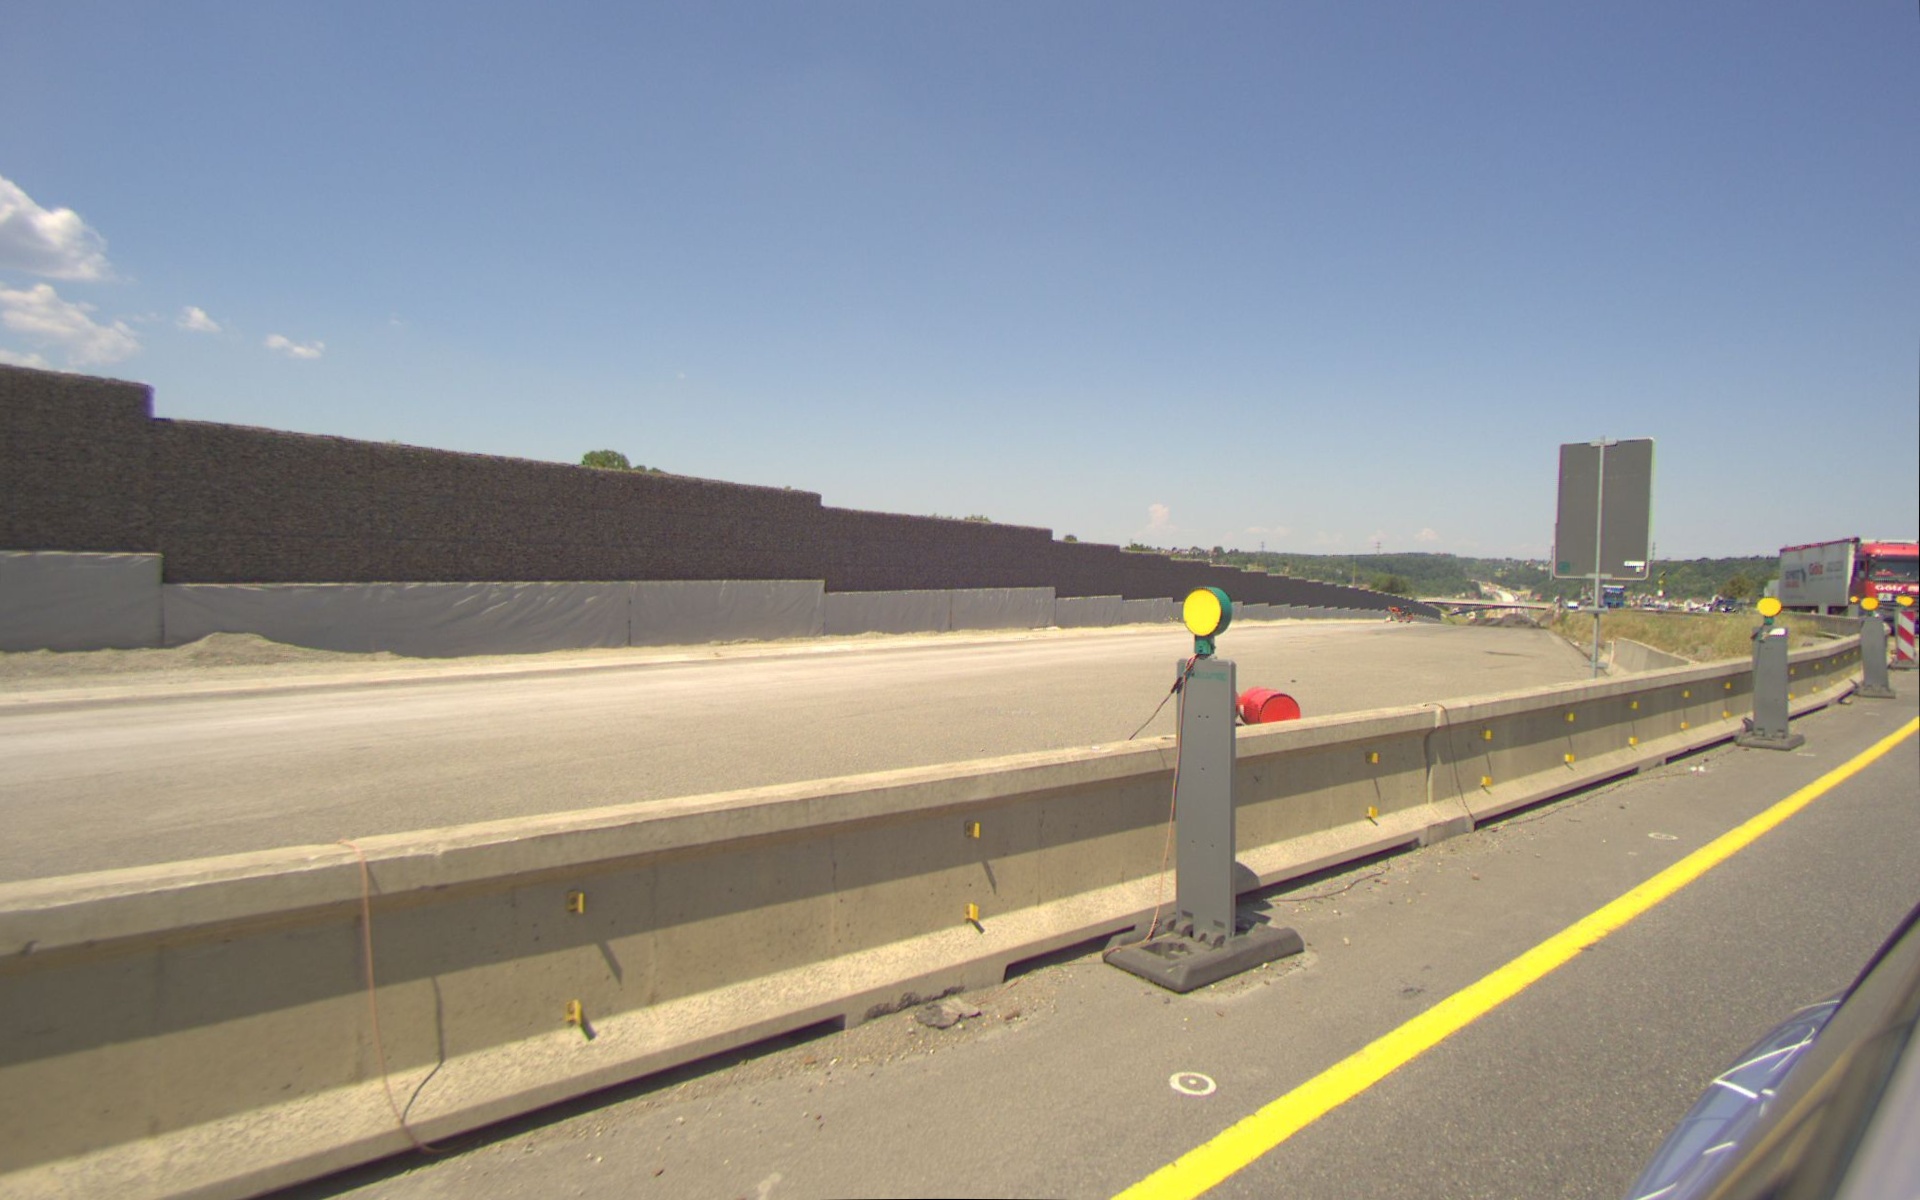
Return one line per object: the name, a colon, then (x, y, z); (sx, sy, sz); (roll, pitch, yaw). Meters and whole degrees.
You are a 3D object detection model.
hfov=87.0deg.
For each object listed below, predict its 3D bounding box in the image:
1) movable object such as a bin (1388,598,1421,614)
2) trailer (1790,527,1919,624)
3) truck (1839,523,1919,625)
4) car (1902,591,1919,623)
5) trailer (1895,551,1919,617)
movable object such as a bin: (66.485, 0.845, 151.527); (4.058, 2.174, 1.762); (2, 2, 2)
trailer: (41.670, -1.099, 47.072); (2.682, 3.922, 12.288); (3, 2, 30)
truck: (38.512, -1.031, 41.550); (2.608, 3.951, 4.880); (3, 2, 30)
car: (46.420, 0.363, 48.202); (1.416, 1.504, 3.380); (3, 2, 29)
trailer: (60.783, -0.930, 61.816); (2.341, 4.203, 12.370); (3, 2, 29)
